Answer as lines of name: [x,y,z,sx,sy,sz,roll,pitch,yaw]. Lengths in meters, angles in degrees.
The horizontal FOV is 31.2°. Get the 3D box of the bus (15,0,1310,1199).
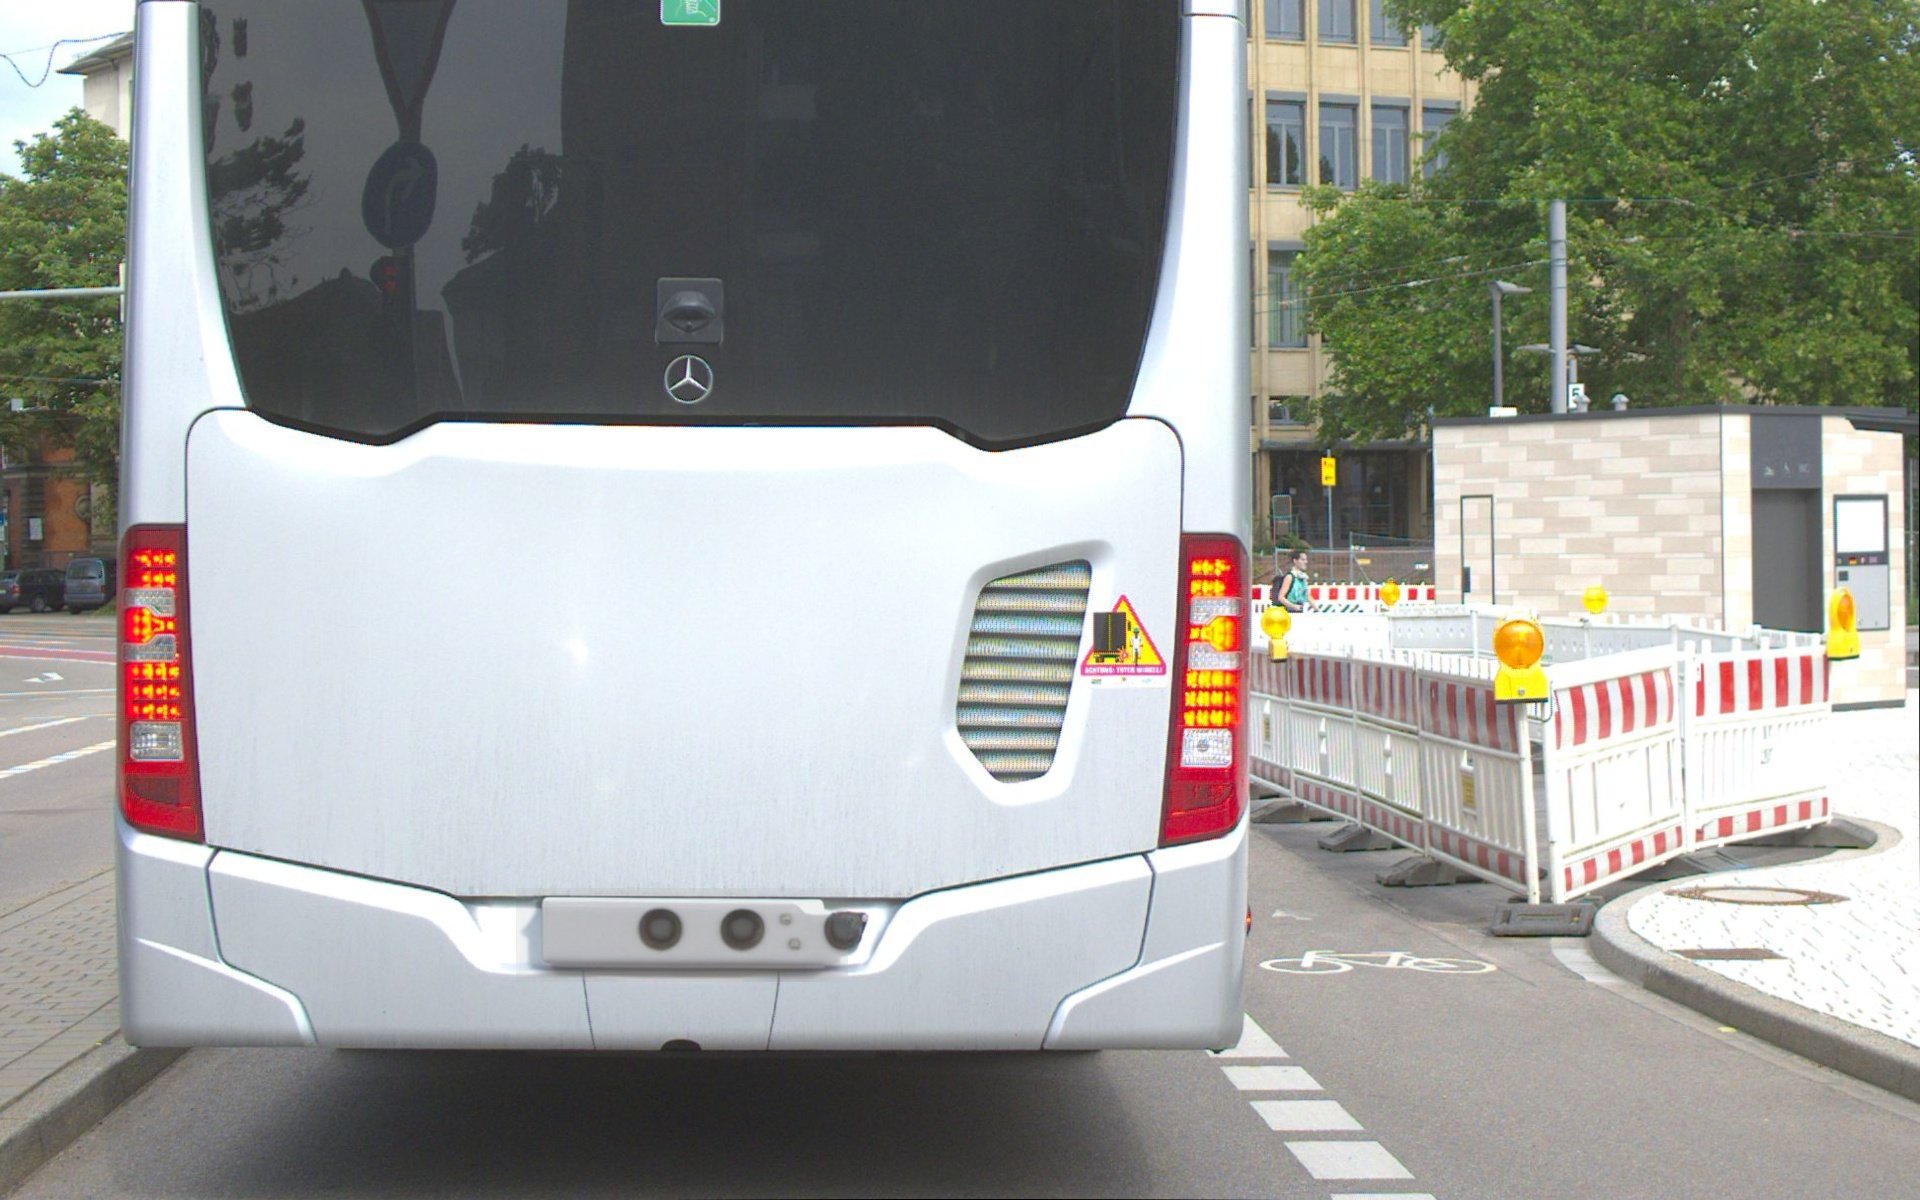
bus: [-1.119,-0.412,14.305,2.704,3.426,14.185,0,0,-4]

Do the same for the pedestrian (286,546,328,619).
pedestrian: [-18.196,-0.493,95.792,0.887,2.007,1.009,-1,1,-28]

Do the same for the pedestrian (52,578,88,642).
pedestrian: [-28.486,0.310,109.997,0.887,2.007,1.009,-1,1,-28]

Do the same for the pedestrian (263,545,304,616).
pedestrian: [-19.439,-0.568,98.833,0.887,2.007,1.009,-1,1,-28]

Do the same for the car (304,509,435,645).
car: [-9.586,-0.410,55.911,1.993,2.006,4.002,-1,3,-9]

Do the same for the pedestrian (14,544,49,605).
pedestrian: [-30.707,-0.857,113.671,0.887,2.007,1.009,-1,1,-28]
